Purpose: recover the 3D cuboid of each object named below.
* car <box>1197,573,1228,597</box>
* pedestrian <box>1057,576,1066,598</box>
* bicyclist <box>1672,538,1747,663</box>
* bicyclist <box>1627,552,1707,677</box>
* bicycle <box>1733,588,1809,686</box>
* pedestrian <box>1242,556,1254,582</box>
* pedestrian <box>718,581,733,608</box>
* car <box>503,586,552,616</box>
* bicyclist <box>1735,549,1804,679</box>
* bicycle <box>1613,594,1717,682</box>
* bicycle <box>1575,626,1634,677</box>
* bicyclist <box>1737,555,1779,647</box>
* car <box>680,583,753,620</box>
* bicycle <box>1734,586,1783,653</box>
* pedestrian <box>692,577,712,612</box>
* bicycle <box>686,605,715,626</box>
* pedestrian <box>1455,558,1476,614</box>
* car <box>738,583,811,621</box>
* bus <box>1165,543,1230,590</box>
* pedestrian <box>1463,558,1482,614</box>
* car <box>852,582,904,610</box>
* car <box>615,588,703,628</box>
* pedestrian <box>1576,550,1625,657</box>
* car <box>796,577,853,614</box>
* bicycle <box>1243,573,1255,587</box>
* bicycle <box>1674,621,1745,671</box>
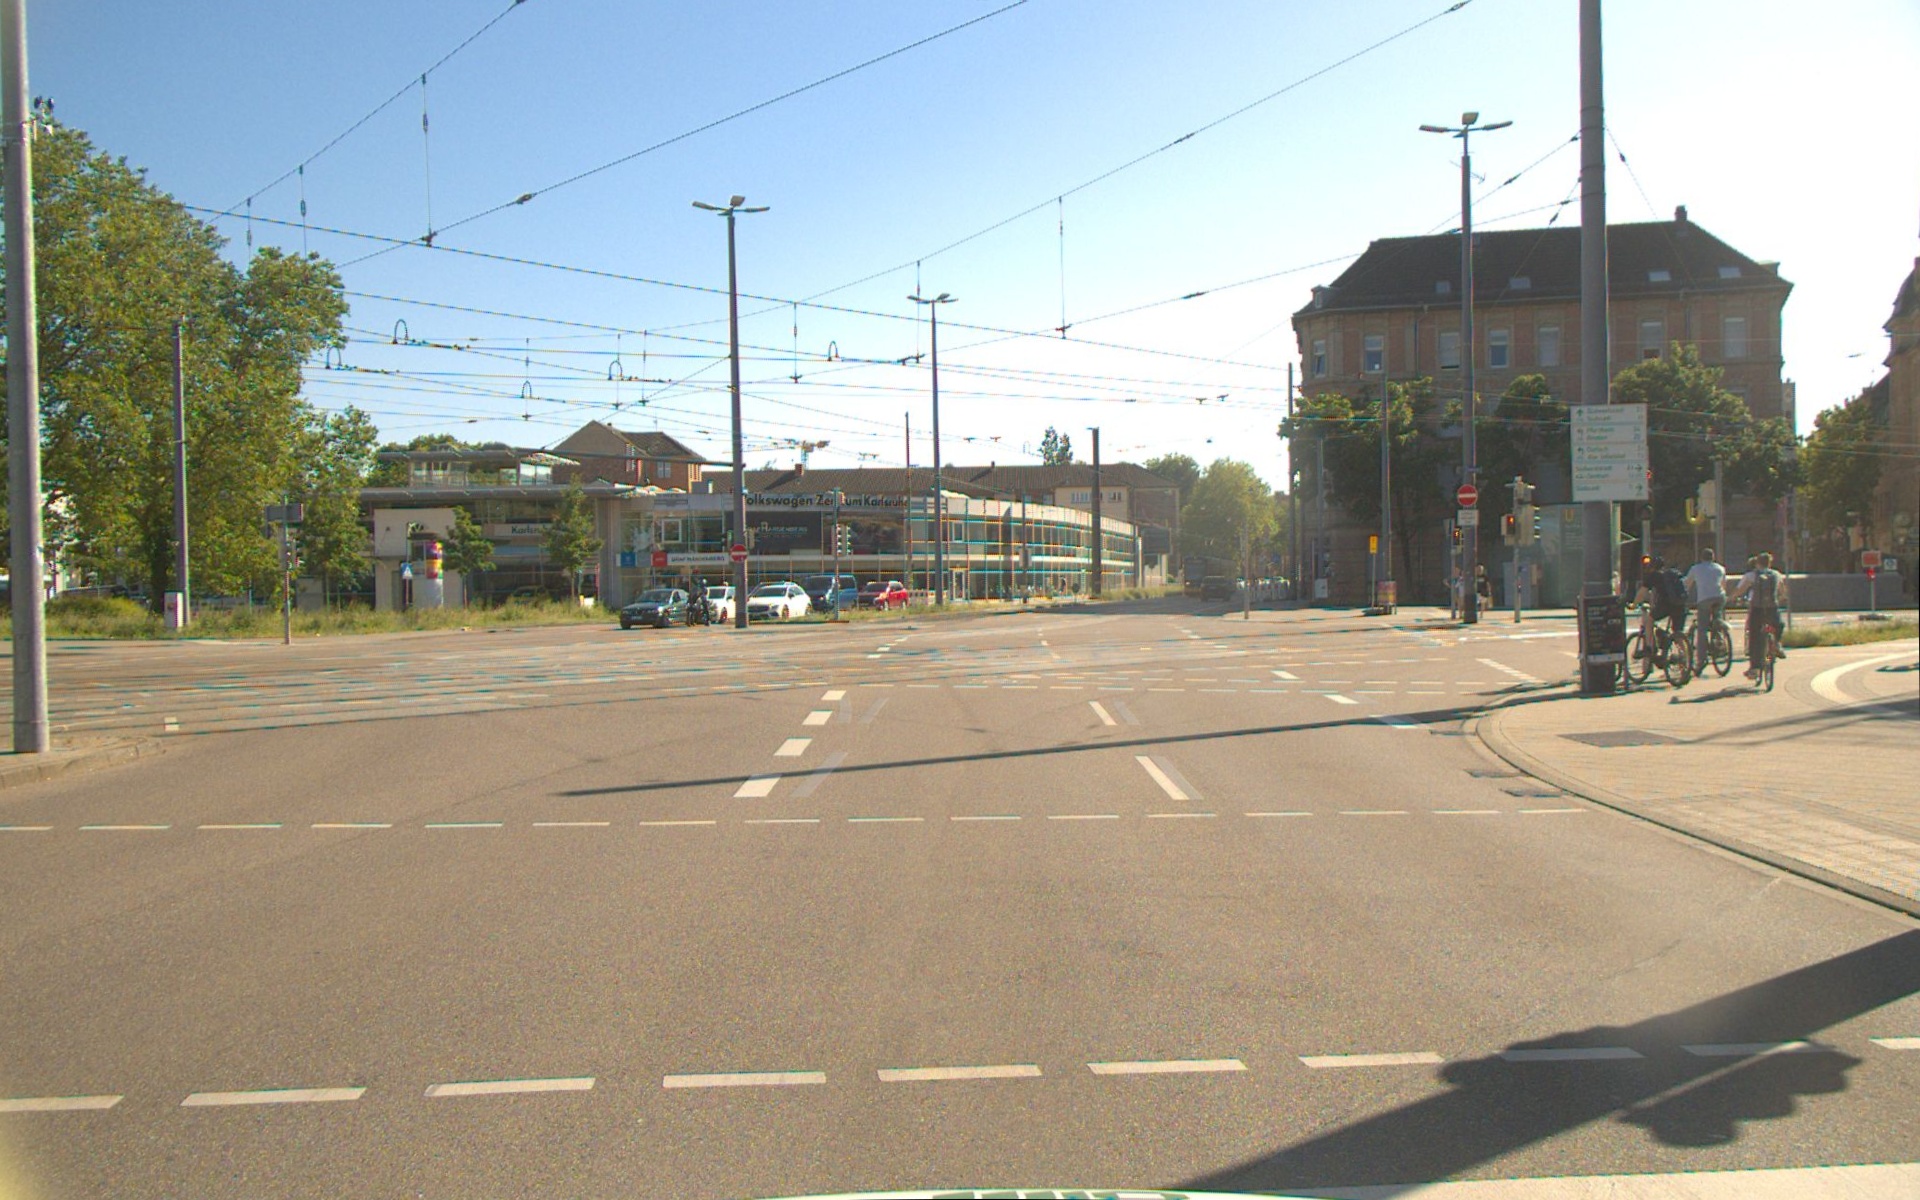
[{"bbox_3d":[17.258,-1.030,112.927,1.663,1.529,4.268,-1,1,14],"label":"car"},{"bbox_3d":[7.884,-0.987,128.334,0.531,1.718,0.630,-1,0,22],"label":"pedestrian"},{"bbox_3d":[11.176,0.000,24.688,0.731,1.809,0.925,-2,0,6],"label":"bicyclist"},{"bbox_3d":[9.749,0.189,22.847,0.612,1.666,0.995,-2,0,0],"label":"bicyclist"},{"bbox_3d":[10.438,0.455,21.338,0.671,1.184,1.884,-1,0,21],"label":"bicycle"},{"bbox_3d":[18.592,-2.025,106.737,0.785,1.660,0.719,-1,0,9],"label":"pedestrian"},{"bbox_3d":[-10.629,-0.240,74.958,0.414,1.225,0.681,-1,0,18],"label":"pedestrian"},{"bbox_3d":[-25.975,0.042,99.477,1.926,1.735,4.083,-1,1,-1],"label":"car"},{"bbox_3d":[10.419,0.170,21.304,0.671,1.626,0.977,-1,0,21],"label":"bicyclist"},{"bbox_3d":[9.760,0.509,22.978,0.612,1.133,1.851,-3,0,0],"label":"bicycle"},{"bbox_3d":[9.706,0.769,24.959,0.525,0.667,1.727,-4,0,12],"label":"bicycle"},{"bbox_3d":[14.071,0.005,29.170,0.559,1.596,0.947,0,1,19],"label":"bicyclist"},{"bbox_3d":[-9.788,0.042,66.675,1.591,1.448,3.689,-1,1,14],"label":"car"},{"bbox_3d":[14.069,0.326,29.163,0.559,1.145,1.741,0,1,19],"label":"bicycle"},{"bbox_3d":[-9.397,-0.204,60.281,0.413,1.225,0.750,-1,0,16],"label":"pedestrian"},{"bbox_3d":[-9.429,0.555,60.130,0.413,0.730,1.636,-1,1,16],"label":"bicycle"},{"bbox_3d":[18.439,-0.516,60.340,0.564,2.049,0.449,-1,1,-19],"label":"pedestrian"},{"bbox_3d":[-7.236,0.073,64.832,1.591,1.406,3.741,-1,1,14],"label":"car"},{"bbox_3d":[21.964,-2.901,151.289,3.755,3.670,24.886,1,0,13],"label":"bus"},{"bbox_3d":[18.884,-0.511,60.949,0.453,2.049,0.449,-1,1,-18],"label":"pedestrian"},{"bbox_3d":[-4.246,-0.204,86.021,1.591,1.388,3.688,-1,1,16],"label":"car"},{"bbox_3d":[-11.011,0.261,60.702,1.667,1.378,3.703,-1,1,16],"label":"car"},{"bbox_3d":[9.643,0.047,24.919,0.536,1.590,0.859,-1,0,12],"label":"pedestrian"},{"bbox_3d":[-6.424,-0.240,78.861,1.591,1.722,3.689,-1,1,14],"label":"car"},{"bbox_3d":[18.561,-1.304,106.255,0.727,0.885,1.933,-1,0,9],"label":"bicycle"},{"bbox_3d":[11.209,0.679,24.768,0.525,0.667,1.469,-2,1,6],"label":"bicycle"}]
